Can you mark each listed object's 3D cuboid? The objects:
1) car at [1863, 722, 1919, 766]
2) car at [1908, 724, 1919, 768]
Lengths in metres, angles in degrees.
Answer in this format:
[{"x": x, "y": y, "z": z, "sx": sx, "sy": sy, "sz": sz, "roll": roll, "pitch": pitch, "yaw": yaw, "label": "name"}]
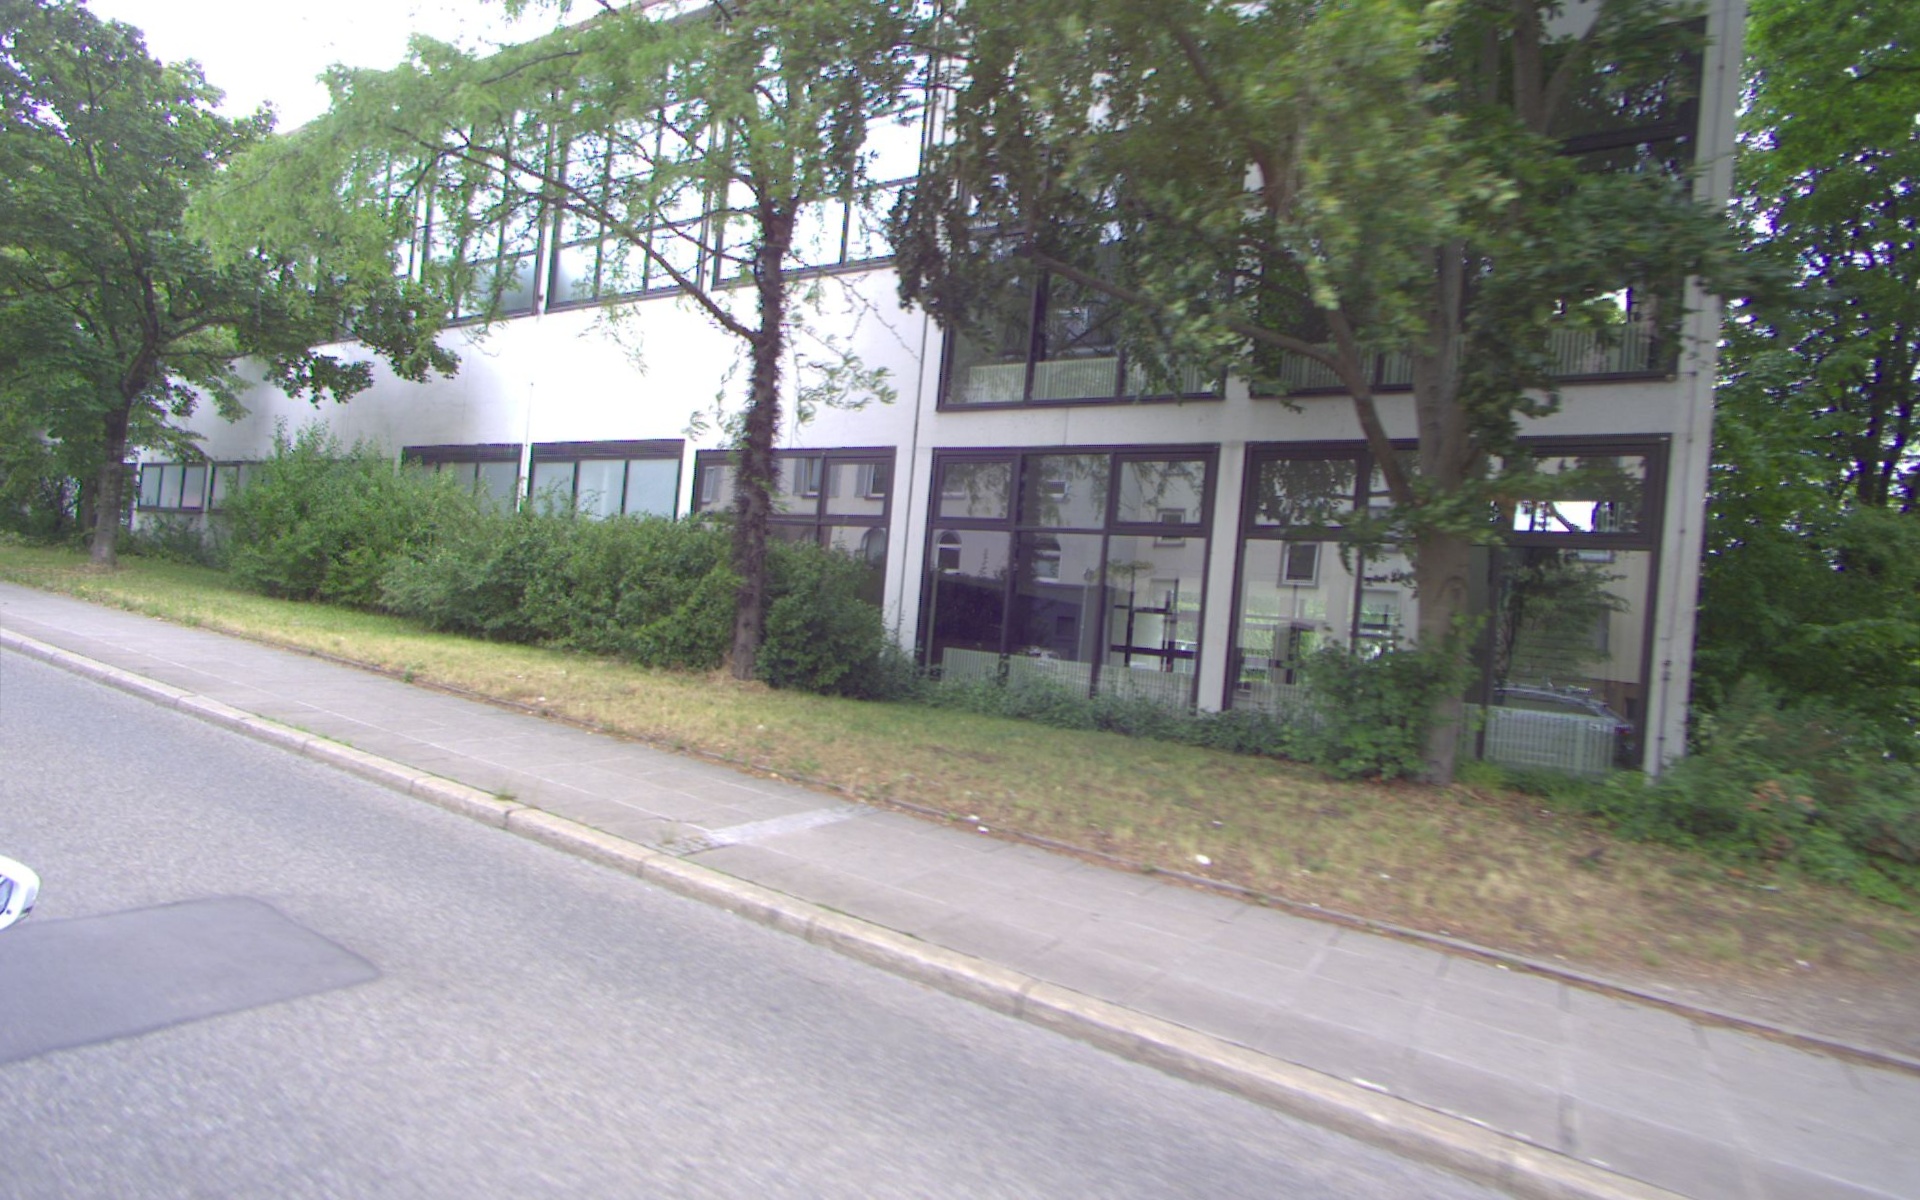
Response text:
[{"x": 42.425, "y": 6.561, "z": 43.750, "sx": 4.181, "sy": 1.567, "sz": 1.937, "roll": 10, "pitch": 1, "yaw": 7, "label": "car"}, {"x": 35.008, "y": 5.344, "z": 34.273, "sx": 1.688, "sy": 1.567, "sz": 4.262, "roll": 10, "pitch": 0, "yaw": 10, "label": "car"}]
